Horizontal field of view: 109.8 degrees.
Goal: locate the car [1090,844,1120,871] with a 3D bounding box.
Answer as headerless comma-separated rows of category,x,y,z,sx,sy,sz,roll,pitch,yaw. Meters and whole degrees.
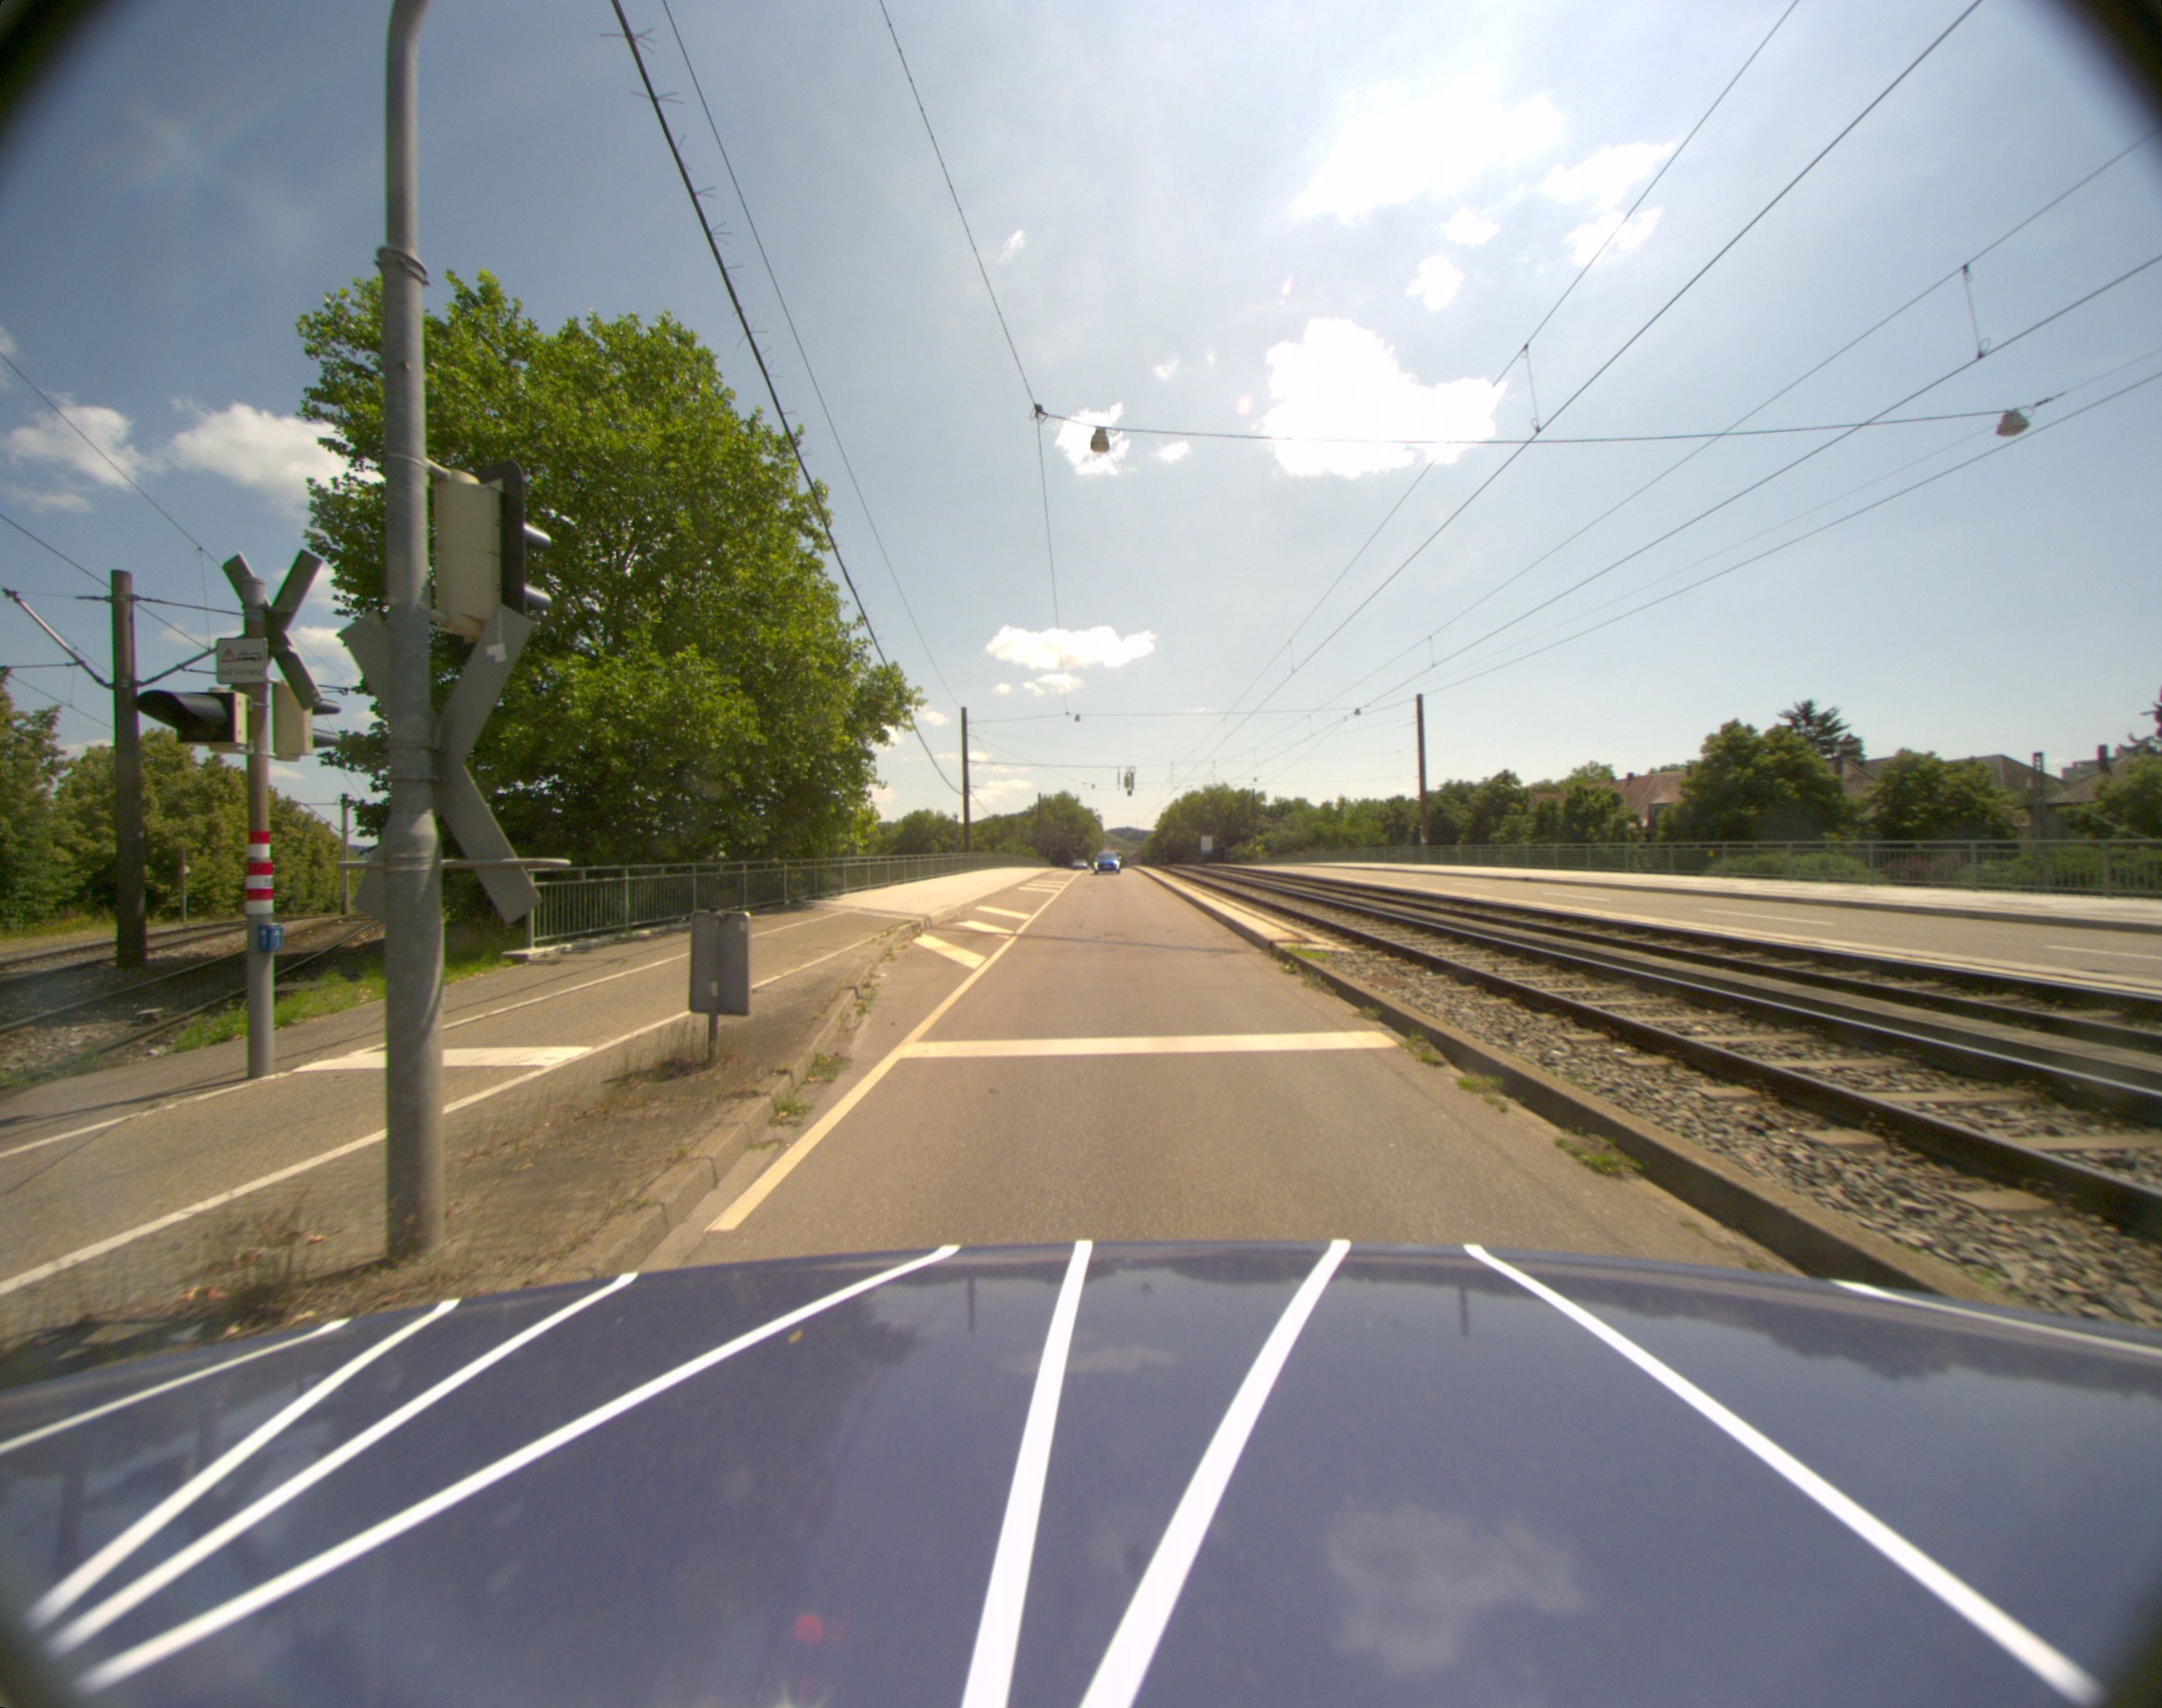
car,1.643,0.278,50.997,1.864,1.630,4.002,-2,-1,3

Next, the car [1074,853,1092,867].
car,0.202,0.801,93.518,1.999,1.542,4.722,-3,-2,-1
